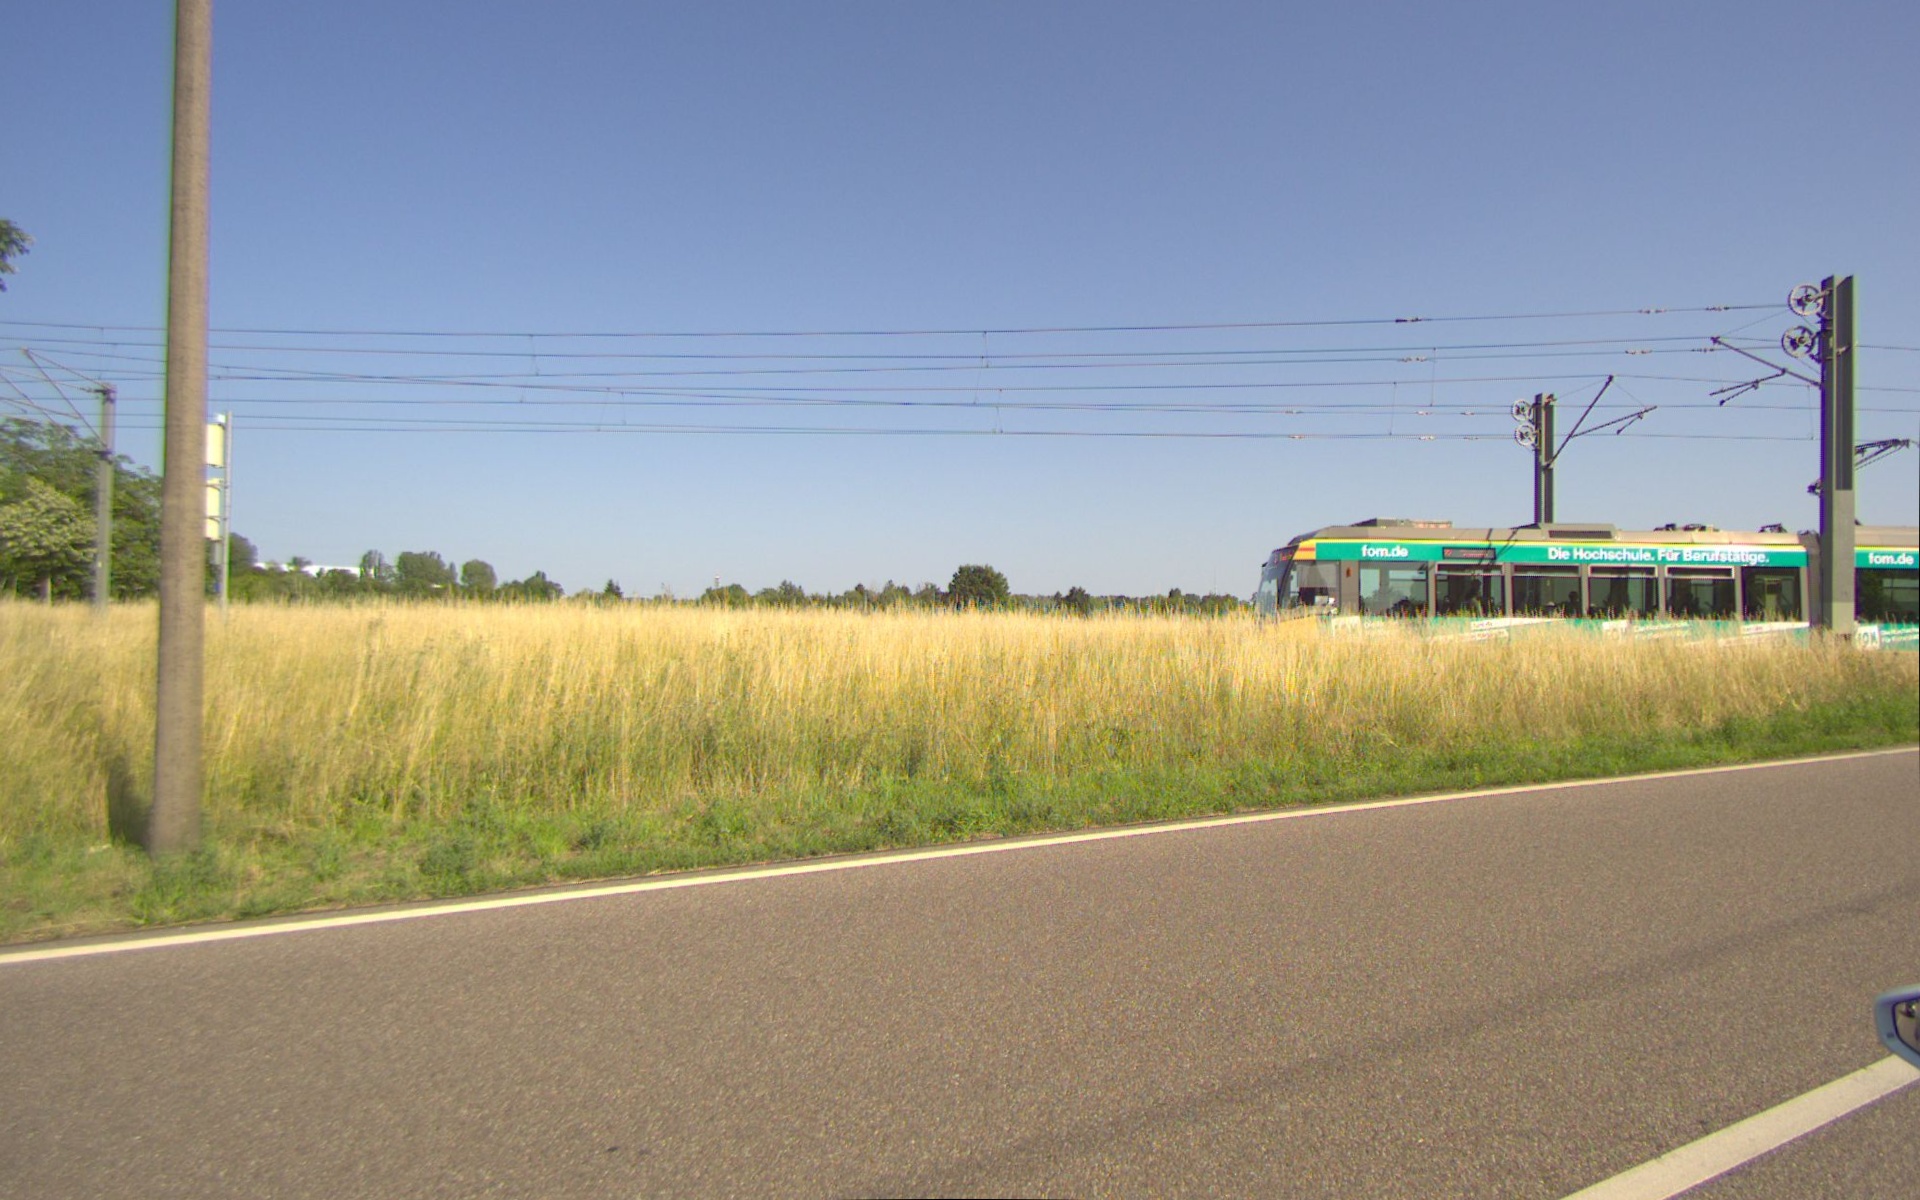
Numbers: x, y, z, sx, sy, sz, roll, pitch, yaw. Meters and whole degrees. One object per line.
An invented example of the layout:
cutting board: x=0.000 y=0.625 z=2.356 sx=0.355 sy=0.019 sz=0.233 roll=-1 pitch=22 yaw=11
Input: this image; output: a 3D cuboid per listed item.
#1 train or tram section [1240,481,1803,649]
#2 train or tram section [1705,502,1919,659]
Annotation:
train or tram section: x=13.156 y=-0.777 z=24.219 sx=11.926 sy=3.531 sz=2.959 roll=1 pitch=0 yaw=-1
train or tram section: x=25.149 y=-0.288 z=24.411 sx=11.927 sy=3.500 sz=2.926 roll=2 pitch=0 yaw=-1
